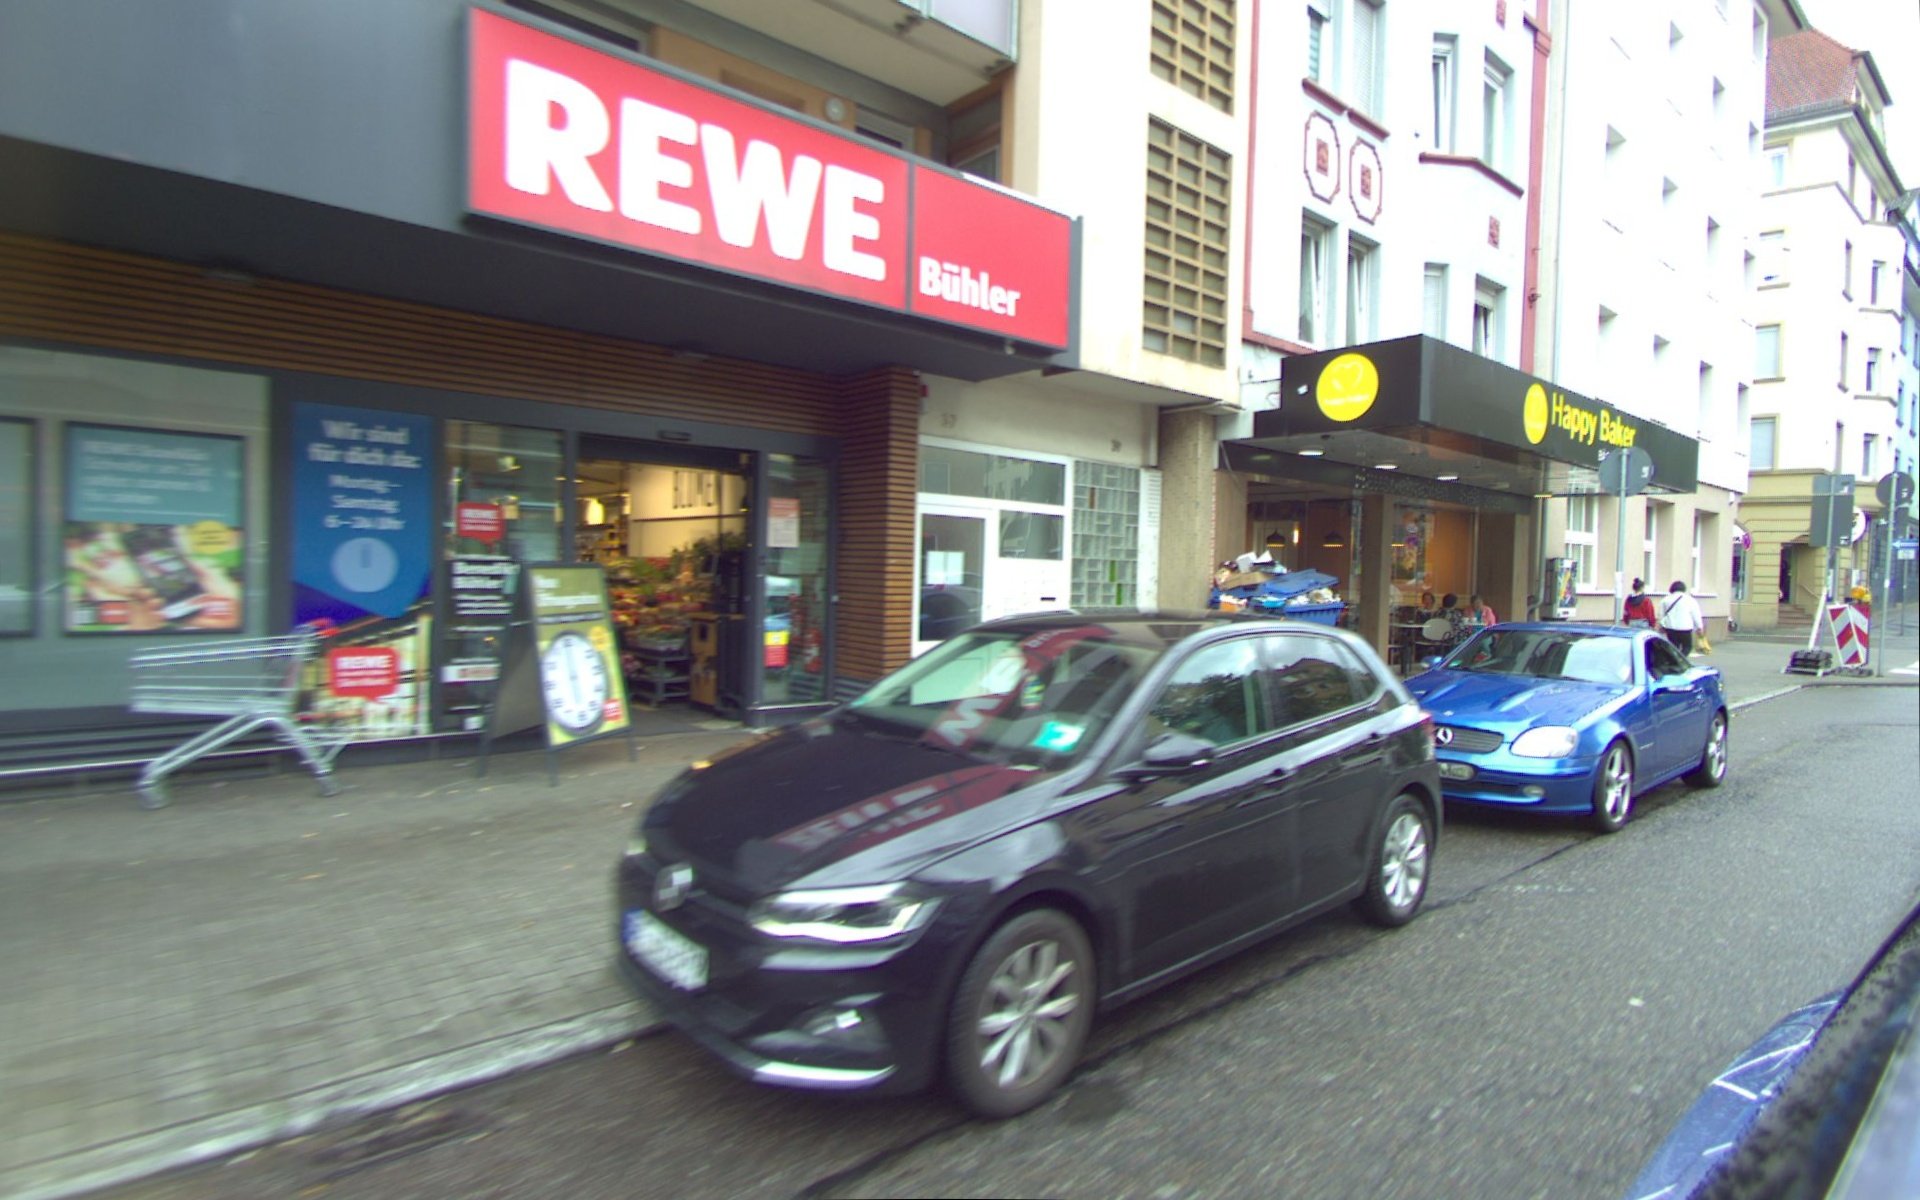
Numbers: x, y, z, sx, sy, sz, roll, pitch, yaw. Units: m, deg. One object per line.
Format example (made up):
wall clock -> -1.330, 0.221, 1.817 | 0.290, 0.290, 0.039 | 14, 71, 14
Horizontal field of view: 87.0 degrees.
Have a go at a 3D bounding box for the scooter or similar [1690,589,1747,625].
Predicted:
scooter or similar -> 25.818, 0.237, 34.459 | 1.457, 1.163, 0.486 | -1, 6, 12

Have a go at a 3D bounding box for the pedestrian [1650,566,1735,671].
pedestrian -> 12.273, 0.296, 16.972 | 0.767, 1.666, 0.705 | 2, 3, -6

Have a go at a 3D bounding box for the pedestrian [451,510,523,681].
pedestrian -> -5.751, -0.062, 12.304 | 0.630, 2.008, 0.572 | 0, 2, -44

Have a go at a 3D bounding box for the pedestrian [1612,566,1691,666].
pedestrian -> 12.072, 0.263, 17.689 | 0.767, 1.666, 0.705 | 2, 3, -6

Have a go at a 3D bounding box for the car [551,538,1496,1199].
car -> 0.548, 0.635, 4.292 | 3.911, 1.567, 1.733 | 0, 0, -40

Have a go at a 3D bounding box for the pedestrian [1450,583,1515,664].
pedestrian -> 8.712, 0.380, 16.875 | 0.647, 1.273, 0.703 | 0, 4, -40

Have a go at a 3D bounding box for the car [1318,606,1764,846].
car -> 4.560, 0.750, 7.766 | 3.699, 1.326, 1.738 | -1, 0, -39

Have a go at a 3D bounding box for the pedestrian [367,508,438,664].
pedestrian -> -6.620, -0.170, 12.017 | 0.494, 1.800, 0.615 | 2, 1, 41

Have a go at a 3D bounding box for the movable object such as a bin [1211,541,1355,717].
movable object such as a bin -> 3.594, 0.265, 11.259 | 1.274, 1.815, 1.001 | -1, 3, -42

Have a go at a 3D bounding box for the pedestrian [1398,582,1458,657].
pedestrian -> 8.387, 0.328, 18.152 | 0.647, 1.273, 0.703 | 0, 4, -40

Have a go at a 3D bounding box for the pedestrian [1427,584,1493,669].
pedestrian -> 7.971, 0.410, 16.147 | 0.645, 1.273, 0.625 | 0, 4, -32
